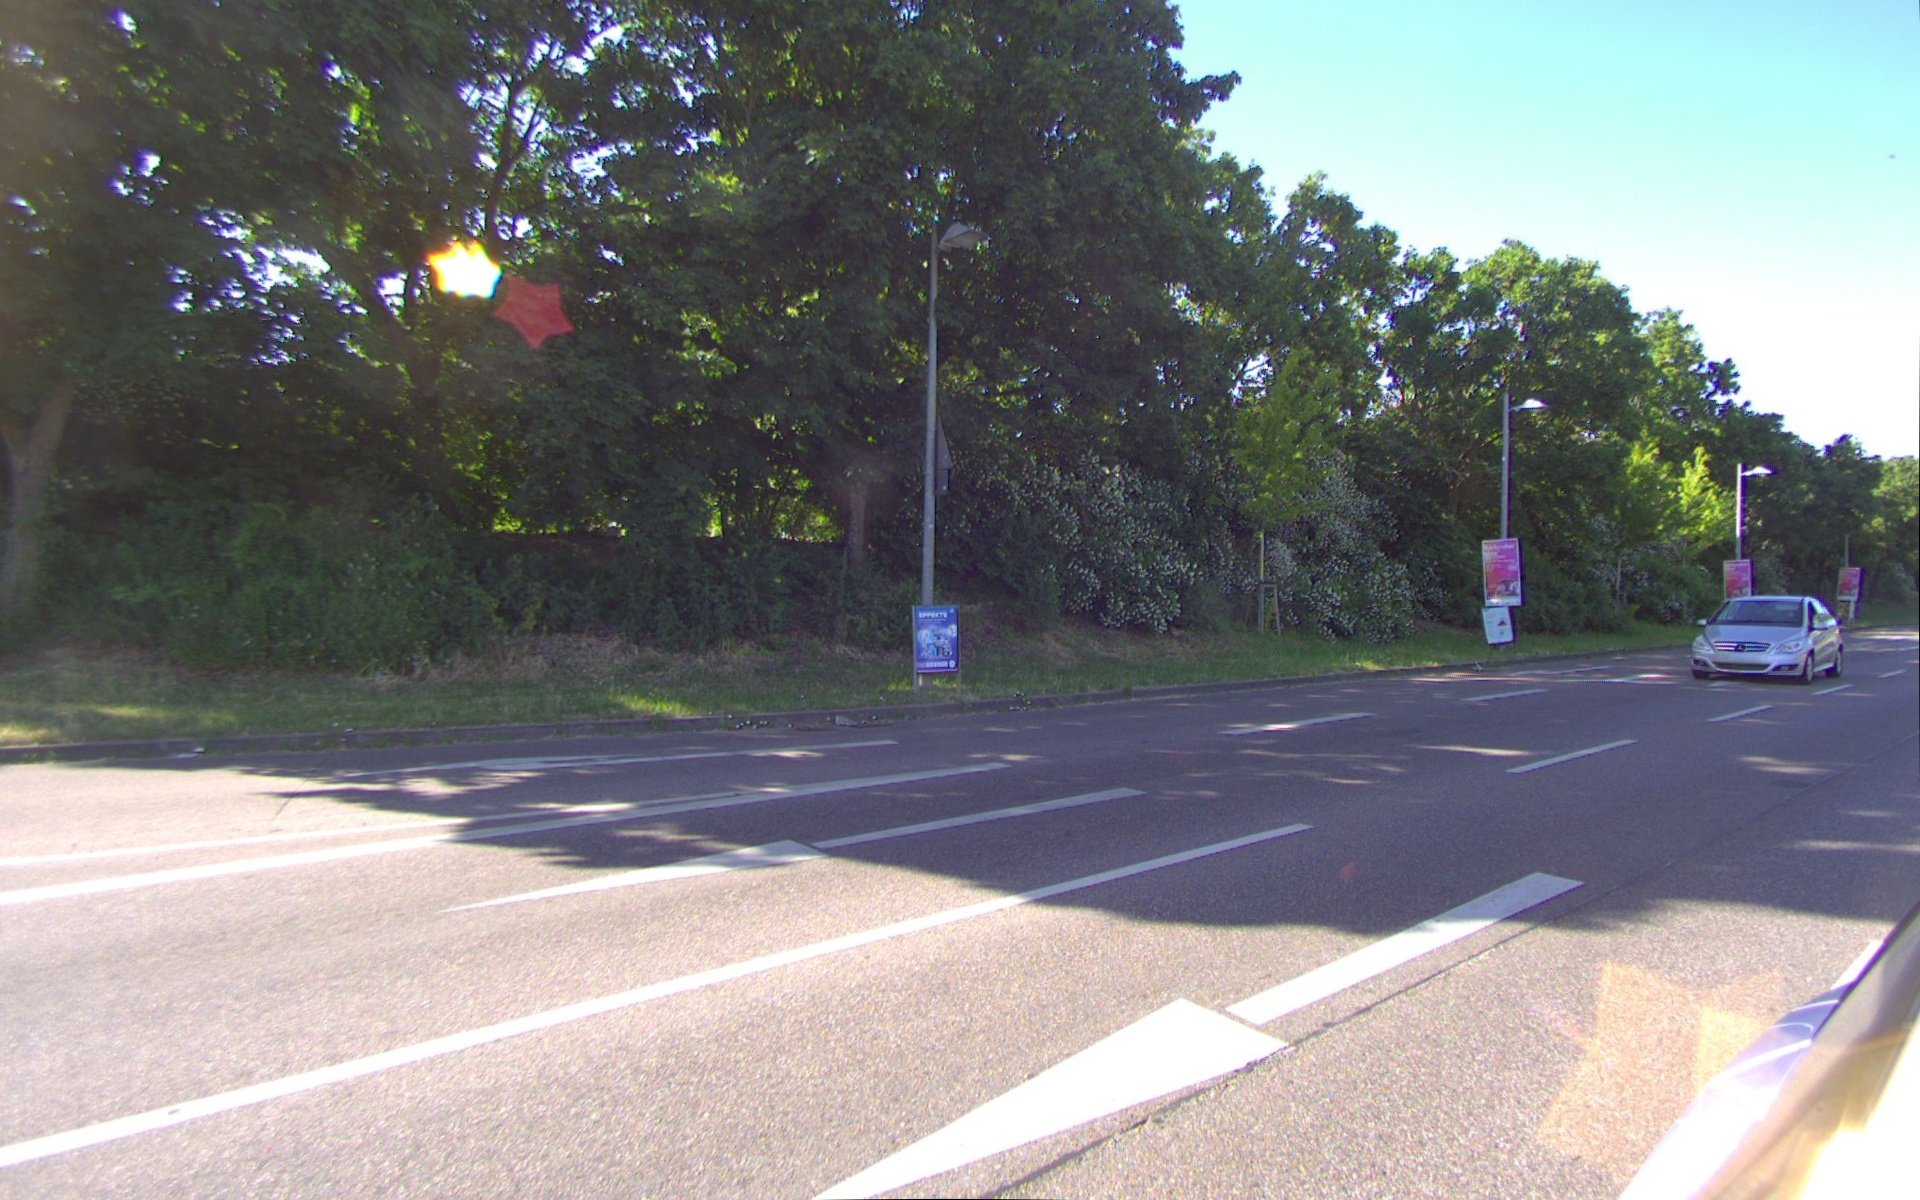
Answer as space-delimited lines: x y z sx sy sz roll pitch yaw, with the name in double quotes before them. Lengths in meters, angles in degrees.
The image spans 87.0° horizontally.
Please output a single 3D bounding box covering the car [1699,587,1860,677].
"car" 15.827 0.549 19.480 3.988 1.559 1.672 0 0 -40
